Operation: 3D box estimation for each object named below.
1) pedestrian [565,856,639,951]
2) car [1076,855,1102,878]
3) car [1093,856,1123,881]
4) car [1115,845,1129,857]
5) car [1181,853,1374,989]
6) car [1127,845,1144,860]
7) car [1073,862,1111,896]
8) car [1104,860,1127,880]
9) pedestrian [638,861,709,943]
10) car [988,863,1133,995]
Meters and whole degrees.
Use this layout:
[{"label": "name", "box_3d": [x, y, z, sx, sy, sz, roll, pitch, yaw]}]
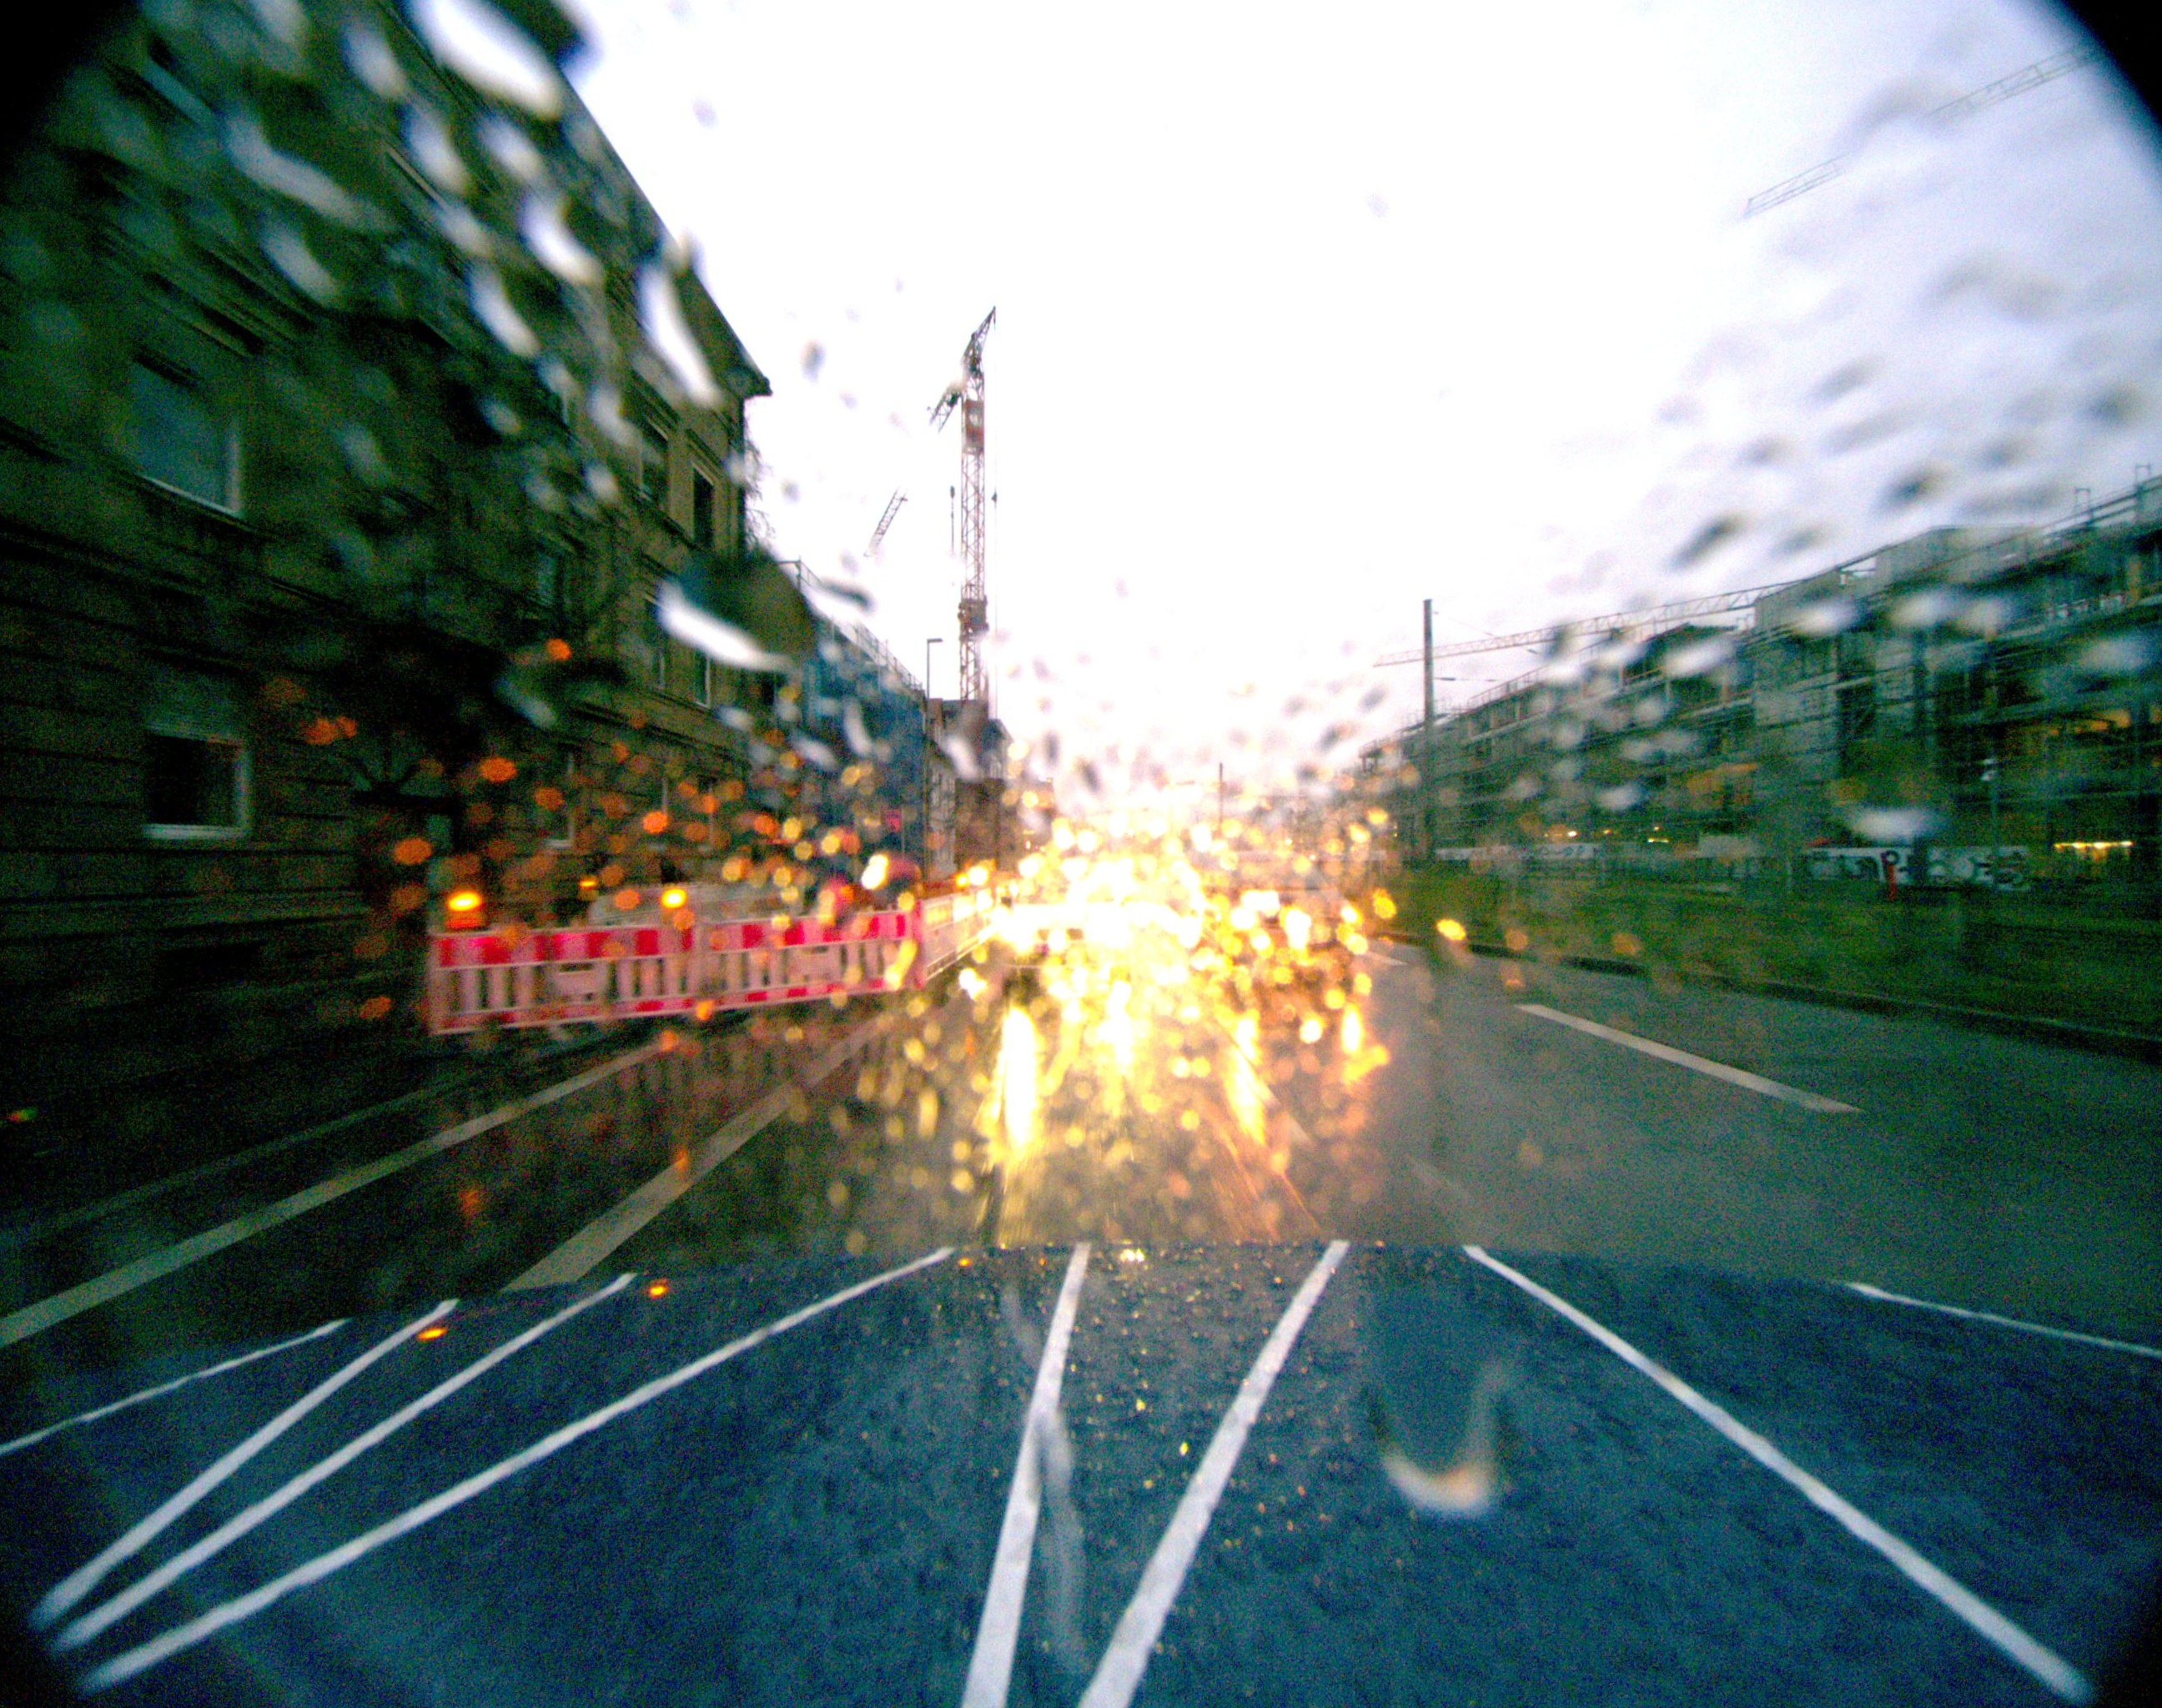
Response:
[{"label": "pedestrian", "box_3d": [-8.585, 0.866, 13.652, 0.870, 1.663, 0.707, 0, 0, 2]}, {"label": "car", "box_3d": [0.565, 0.895, 56.174, 1.769, 1.504, 3.899, -2, 1, 0]}, {"label": "car", "box_3d": [1.777, 0.914, 50.311, 1.769, 1.504, 3.899, -2, 1, 0]}, {"label": "car", "box_3d": [5.600, -0.433, 103.631, 1.768, 1.614, 3.900, -2, 1, 4]}, {"label": "car", "box_3d": [2.673, 0.832, 11.369, 1.815, 1.636, 4.135, -1, 0, 0]}, {"label": "car", "box_3d": [6.048, -0.200, 83.937, 1.768, 1.614, 3.900, -2, 1, 4]}, {"label": "car", "box_3d": [0.499, 1.202, 37.919, 1.769, 1.504, 3.899, -2, 1, 0]}, {"label": "car", "box_3d": [3.021, 1.397, 67.593, 1.769, 1.504, 3.899, -2, 1, 0]}, {"label": "pedestrian", "box_3d": [-7.916, 0.911, 14.784, 0.870, 1.536, 0.929, 0, 0, 1]}, {"label": "car", "box_3d": [-0.265, 0.968, 11.482, 1.769, 1.504, 3.899, -2, 1, 0]}]
